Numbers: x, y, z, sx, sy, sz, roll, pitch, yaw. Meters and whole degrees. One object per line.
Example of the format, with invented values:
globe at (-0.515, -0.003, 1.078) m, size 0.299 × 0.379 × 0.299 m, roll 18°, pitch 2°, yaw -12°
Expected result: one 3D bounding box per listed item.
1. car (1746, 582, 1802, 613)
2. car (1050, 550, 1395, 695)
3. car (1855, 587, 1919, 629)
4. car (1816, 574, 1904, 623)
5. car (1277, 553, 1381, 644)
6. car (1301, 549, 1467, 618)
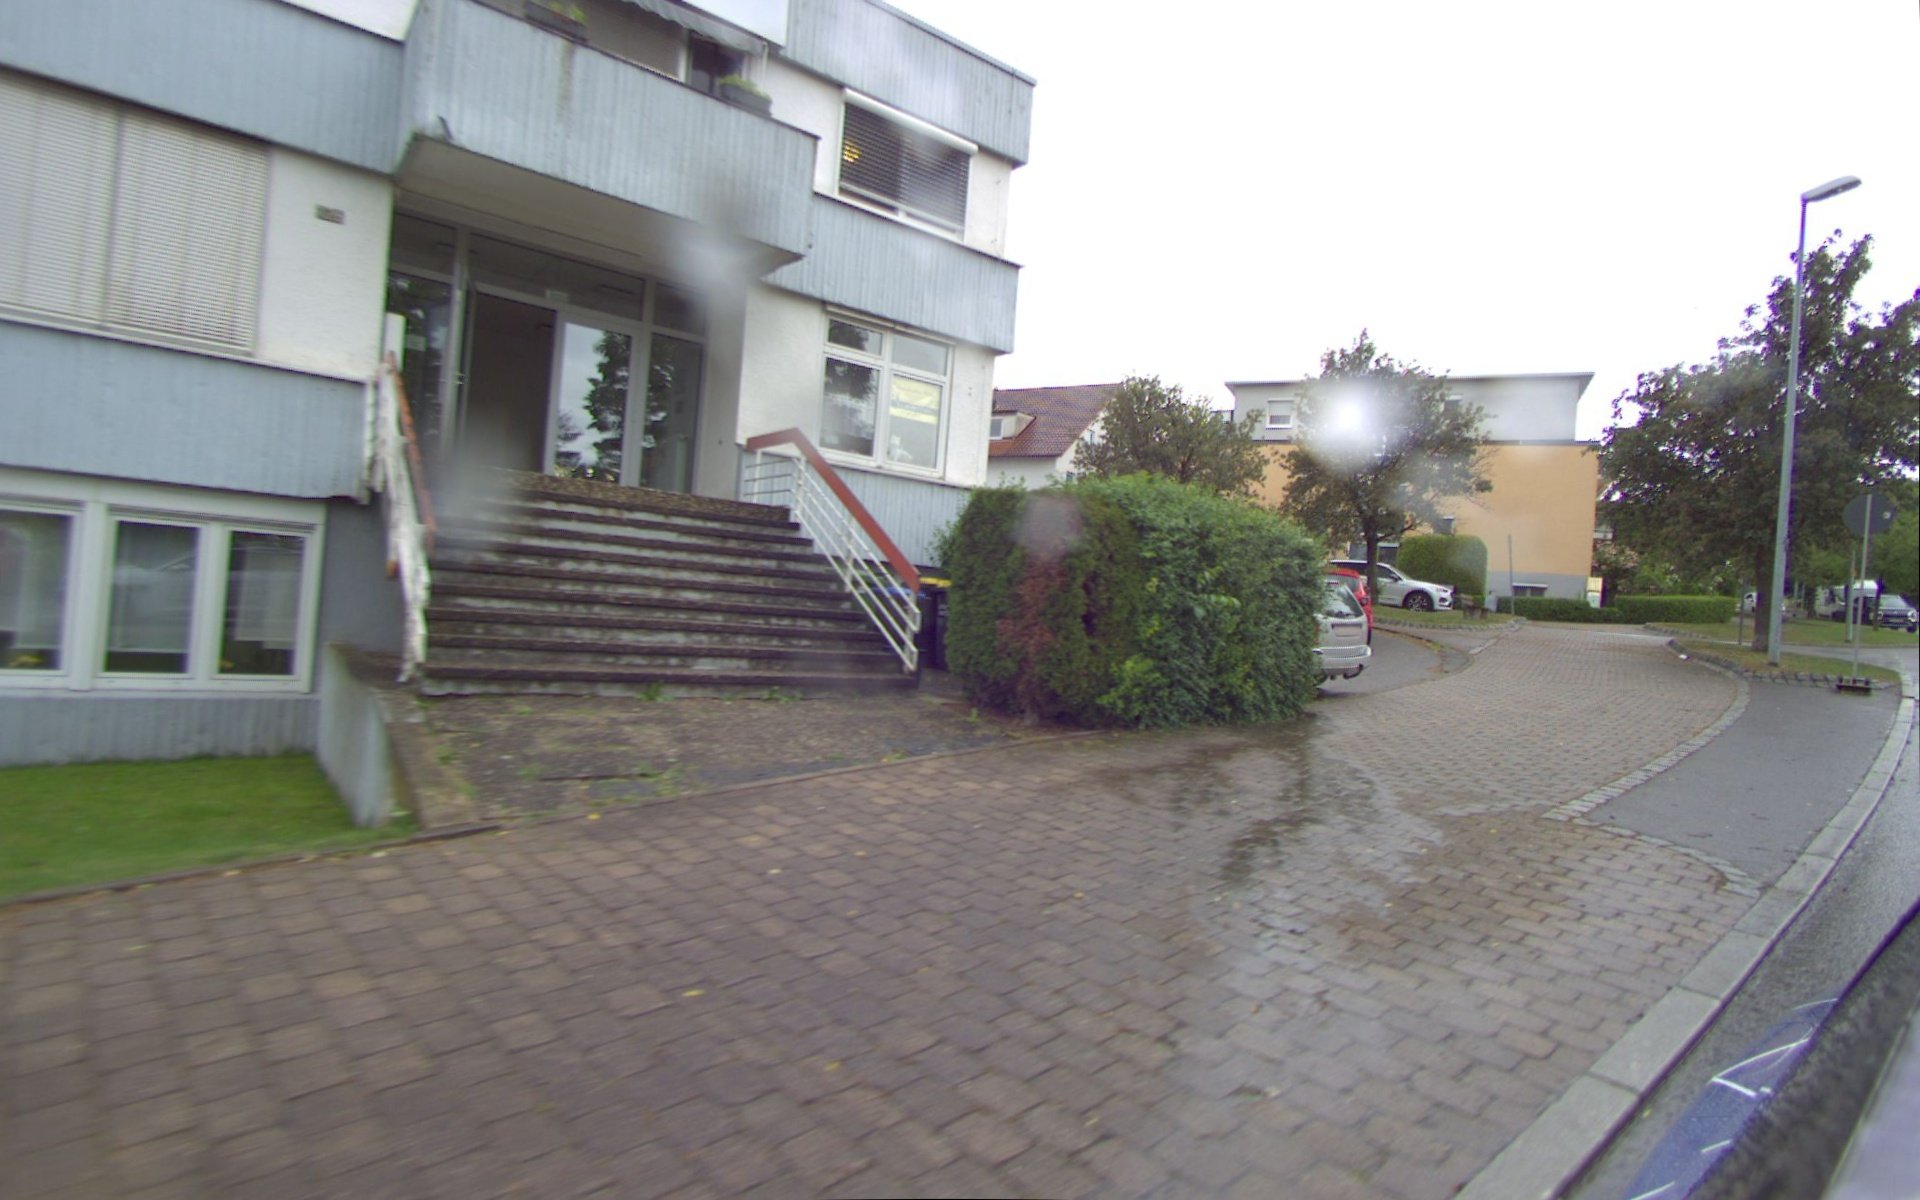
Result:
car at (53.363, -0.184, 66.436) m, size 1.805 × 1.806 × 3.791 m, roll 3°, pitch 3°, yaw 23°
car at (3.440, 0.175, 13.973) m, size 1.826 × 1.604 × 4.323 m, roll 0°, pitch 3°, yaw -40°
car at (43.916, 0.342, 47.667) m, size 1.804 × 1.748 × 4.599 m, roll 3°, pitch 3°, yaw 32°
car at (46.876, -0.122, 52.840) m, size 2.035 × 2.360 × 5.356 m, roll 3°, pitch 2°, yaw 27°
car at (7.962, -0.137, 22.172) m, size 1.833 × 1.603 × 4.307 m, roll 2°, pitch 5°, yaw 17°
car at (13.747, -0.588, 32.906) m, size 4.678 × 1.836 × 1.926 m, roll 5°, pitch 4°, yaw 31°
